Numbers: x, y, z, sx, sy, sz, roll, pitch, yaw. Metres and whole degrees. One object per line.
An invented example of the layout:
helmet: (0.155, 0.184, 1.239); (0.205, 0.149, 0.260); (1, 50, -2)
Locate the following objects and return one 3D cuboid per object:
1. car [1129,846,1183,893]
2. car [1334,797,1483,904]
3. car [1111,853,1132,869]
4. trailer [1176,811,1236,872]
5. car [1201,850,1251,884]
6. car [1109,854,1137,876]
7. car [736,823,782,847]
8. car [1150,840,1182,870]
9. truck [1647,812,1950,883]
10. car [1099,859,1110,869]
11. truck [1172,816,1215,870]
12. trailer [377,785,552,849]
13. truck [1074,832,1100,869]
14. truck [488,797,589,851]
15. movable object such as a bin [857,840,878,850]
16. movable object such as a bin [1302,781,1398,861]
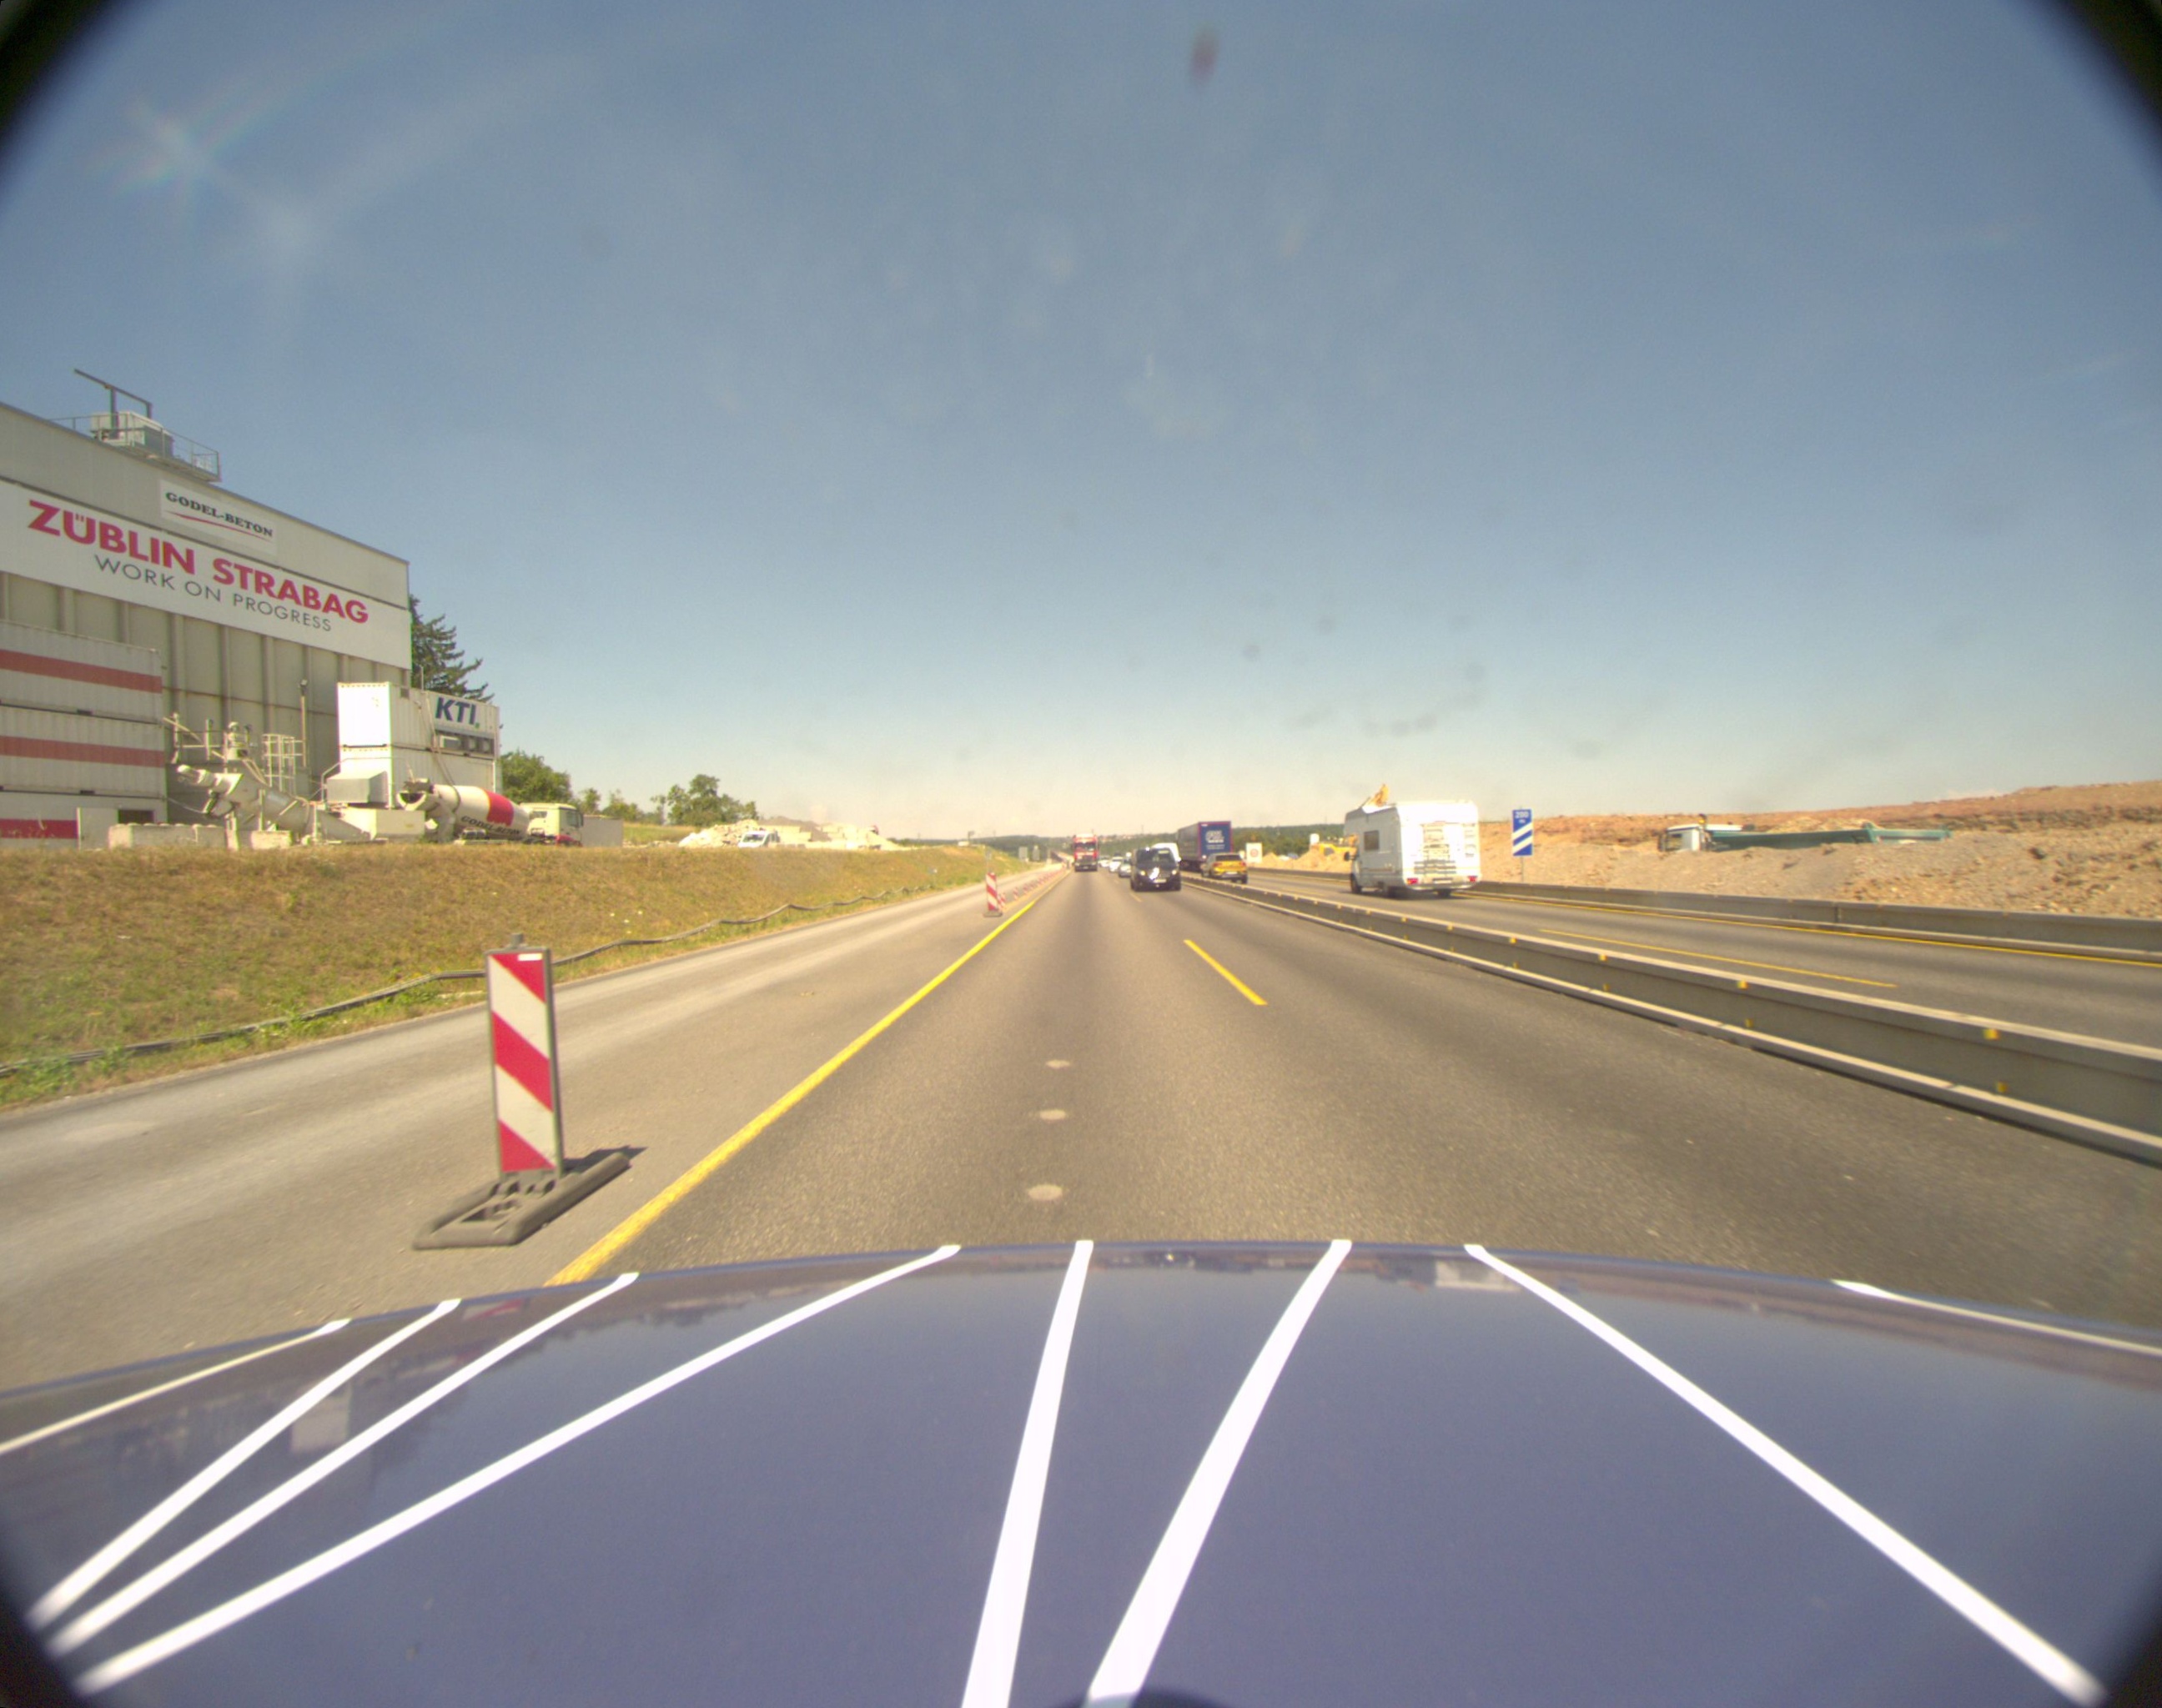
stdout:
car: (3.242, 0.613, 33.878); (1.879, 1.840, 5.478); (-2, 1, 1)
car: (10.303, -0.128, 24.579); (2.257, 2.938, 5.848); (-2, 1, 1)
car: (3.944, 0.653, 74.337); (1.875, 1.390, 4.030); (-2, 1, 1)
trailer: (10.379, -1.047, 64.591); (2.993, 4.569, 12.882); (-2, 1, 1)
car: (7.266, 0.596, 38.520); (1.766, 1.565, 4.362); (-2, 0, 2)
car: (2.990, 0.785, 55.036); (1.804, 1.499, 4.100); (-2, 0, 0)
car: (-25.312, -1.486, 59.932); (1.990, 1.752, 3.601); (-2, 1, 0)
car: (7.181, 0.124, 64.987); (2.040, 2.329, 6.196); (-2, 0, 1)
truck: (25.152, -0.237, 27.561); (2.568, 2.046, 8.802); (-2, 1, -1)
car: (3.630, 1.475, 117.918); (1.601, 1.390, 3.695); (-2, 1, 1)
truck: (10.452, -1.014, 70.922); (2.972, 4.625, 6.243); (-2, 1, 1)
trailer: (-28.289, -1.592, 35.341); (1.998, 2.629, 6.937); (-2, 1, 4)
truck: (0.719, -0.396, 84.809); (2.537, 3.798, 9.481); (-2, 1, 1)
truck: (-27.991, -1.497, 39.367); (2.021, 2.530, 4.041); (-2, 1, 4)
movable object such as a bin: (-15.761, -0.686, 56.114); (0.838, 0.678, 2.249); (-2, 1, 1)
movable object such as a bin: (25.225, -3.035, 71.610); (7.378, 7.073, 4.081); (-2, 1, 1)
